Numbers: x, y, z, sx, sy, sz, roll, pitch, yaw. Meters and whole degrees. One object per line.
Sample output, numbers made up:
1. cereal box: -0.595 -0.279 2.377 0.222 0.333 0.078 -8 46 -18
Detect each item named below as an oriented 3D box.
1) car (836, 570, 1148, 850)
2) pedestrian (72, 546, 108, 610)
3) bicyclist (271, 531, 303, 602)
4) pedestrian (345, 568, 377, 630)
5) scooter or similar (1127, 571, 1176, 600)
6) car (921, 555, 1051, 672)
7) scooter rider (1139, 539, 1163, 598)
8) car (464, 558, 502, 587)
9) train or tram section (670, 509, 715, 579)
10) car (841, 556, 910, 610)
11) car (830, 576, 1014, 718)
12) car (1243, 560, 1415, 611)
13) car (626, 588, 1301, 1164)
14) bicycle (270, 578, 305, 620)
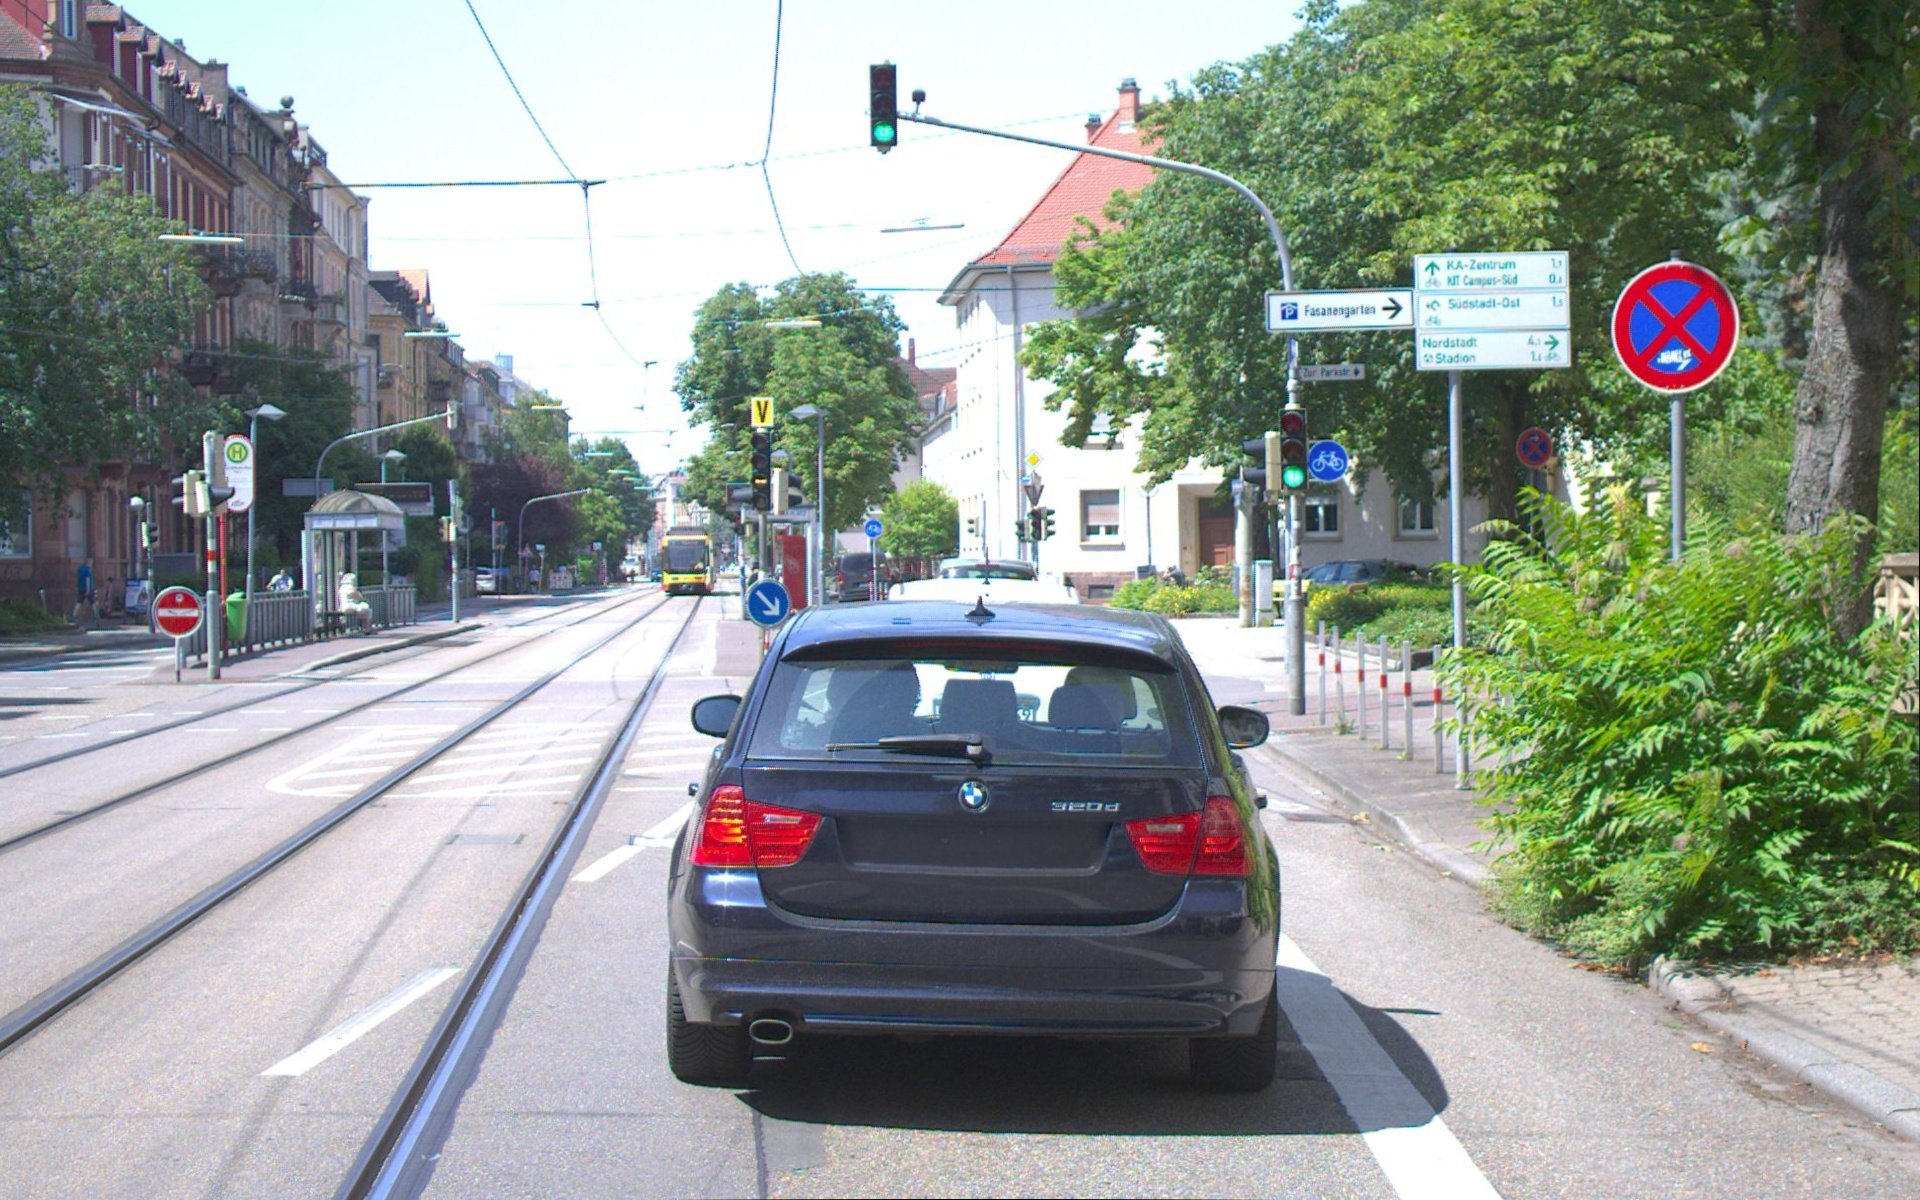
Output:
1. car: 0.178 0.586 20.577 1.685 1.479 3.684 -1 1 0
2. pedestrian: -24.733 -0.618 97.743 0.640 1.805 0.739 0 1 35
3. bicyclist: -17.919 -0.896 91.547 0.722 1.864 0.825 -1 1 -4
4. pedestrian: -12.106 -0.025 69.524 0.613 1.238 0.628 -1 1 -9
5. scooter or similar: 5.512 -0.415 98.881 1.311 0.834 0.527 -1 1 -9
6. car: 0.335 0.152 46.642 1.691 1.508 3.821 0 1 0
7. scooter rider: 5.496 -0.903 98.878 0.590 1.681 0.528 -1 1 -9
8. car: -26.879 -1.530 193.508 1.787 1.580 4.001 1 0 -12
9. train or tram section: -13.694 -2.886 176.245 2.190 3.470 8.846 -1 1 -4
10. car: -2.967 -0.609 120.006 1.993 1.842 4.001 -1 1 -7
11. car: -0.431 0.427 34.545 1.691 1.318 3.822 0 1 -3
12. car: 9.301 -0.371 86.754 3.994 1.239 1.621 0 1 32
13. car: 0.060 0.710 11.242 1.722 1.404 4.565 2 1 1
14. bicycle: -17.925 -0.034 91.643 0.728 1.098 1.716 -1 1 -5
